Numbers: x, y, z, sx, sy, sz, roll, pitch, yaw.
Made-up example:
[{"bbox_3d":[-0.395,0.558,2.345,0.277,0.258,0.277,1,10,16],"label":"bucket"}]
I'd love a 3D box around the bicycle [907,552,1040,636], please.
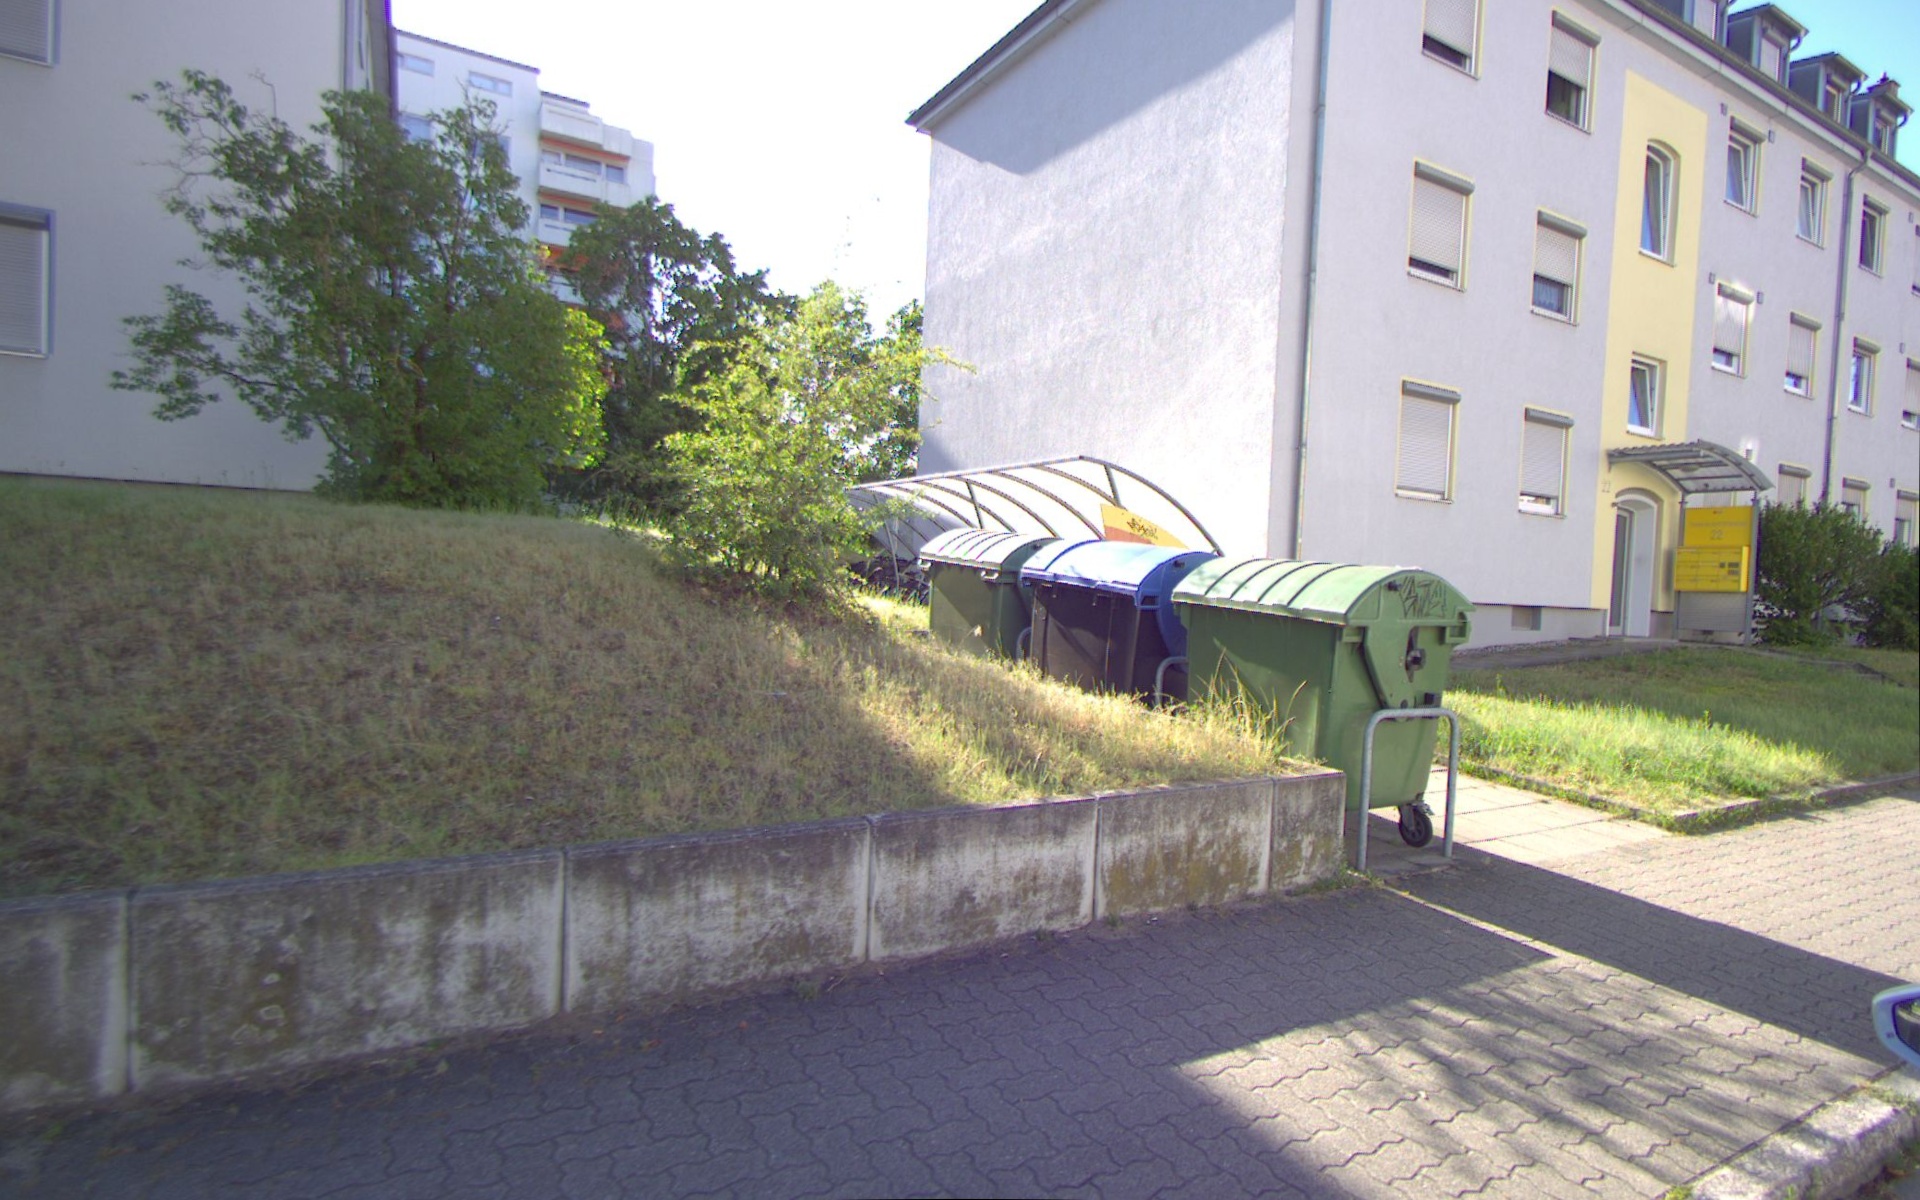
[{"bbox_3d":[0.219,-0.084,15.581,1.986,1.235,0.637,1,3,-31],"label":"bicycle"}]

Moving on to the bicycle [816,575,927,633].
[{"bbox_3d":[-1.654,0.077,18.912,1.986,1.020,0.637,1,2,-31],"label":"bicycle"}]

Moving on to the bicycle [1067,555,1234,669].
[{"bbox_3d":[2.286,0.144,11.954,1.986,1.267,0.637,1,3,-31],"label":"bicycle"}]

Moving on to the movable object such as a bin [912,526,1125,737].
[{"bbox_3d":[0.435,0.204,8.117,1.060,1.473,1.353,1,6,-30],"label":"movable object such as a bin"}]

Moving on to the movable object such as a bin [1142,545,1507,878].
[{"bbox_3d":[1.933,0.506,5.490,1.184,1.479,1.309,1,5,-30],"label":"movable object such as a bin"}]

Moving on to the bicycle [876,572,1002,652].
[{"bbox_3d":[-0.334,0.201,16.528,1.986,1.235,0.637,1,3,-31],"label":"bicycle"}]

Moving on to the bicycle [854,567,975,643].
[{"bbox_3d":[-0.771,0.093,17.305,1.986,1.235,0.637,1,3,-31],"label":"bicycle"}]

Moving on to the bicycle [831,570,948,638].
[{"bbox_3d":[-1.259,0.081,18.012,1.986,1.146,0.637,1,3,-31],"label":"bicycle"}]

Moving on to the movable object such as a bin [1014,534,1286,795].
[{"bbox_3d":[1.227,0.361,6.757,1.070,1.479,1.348,1,6,-30],"label":"movable object such as a bin"}]
